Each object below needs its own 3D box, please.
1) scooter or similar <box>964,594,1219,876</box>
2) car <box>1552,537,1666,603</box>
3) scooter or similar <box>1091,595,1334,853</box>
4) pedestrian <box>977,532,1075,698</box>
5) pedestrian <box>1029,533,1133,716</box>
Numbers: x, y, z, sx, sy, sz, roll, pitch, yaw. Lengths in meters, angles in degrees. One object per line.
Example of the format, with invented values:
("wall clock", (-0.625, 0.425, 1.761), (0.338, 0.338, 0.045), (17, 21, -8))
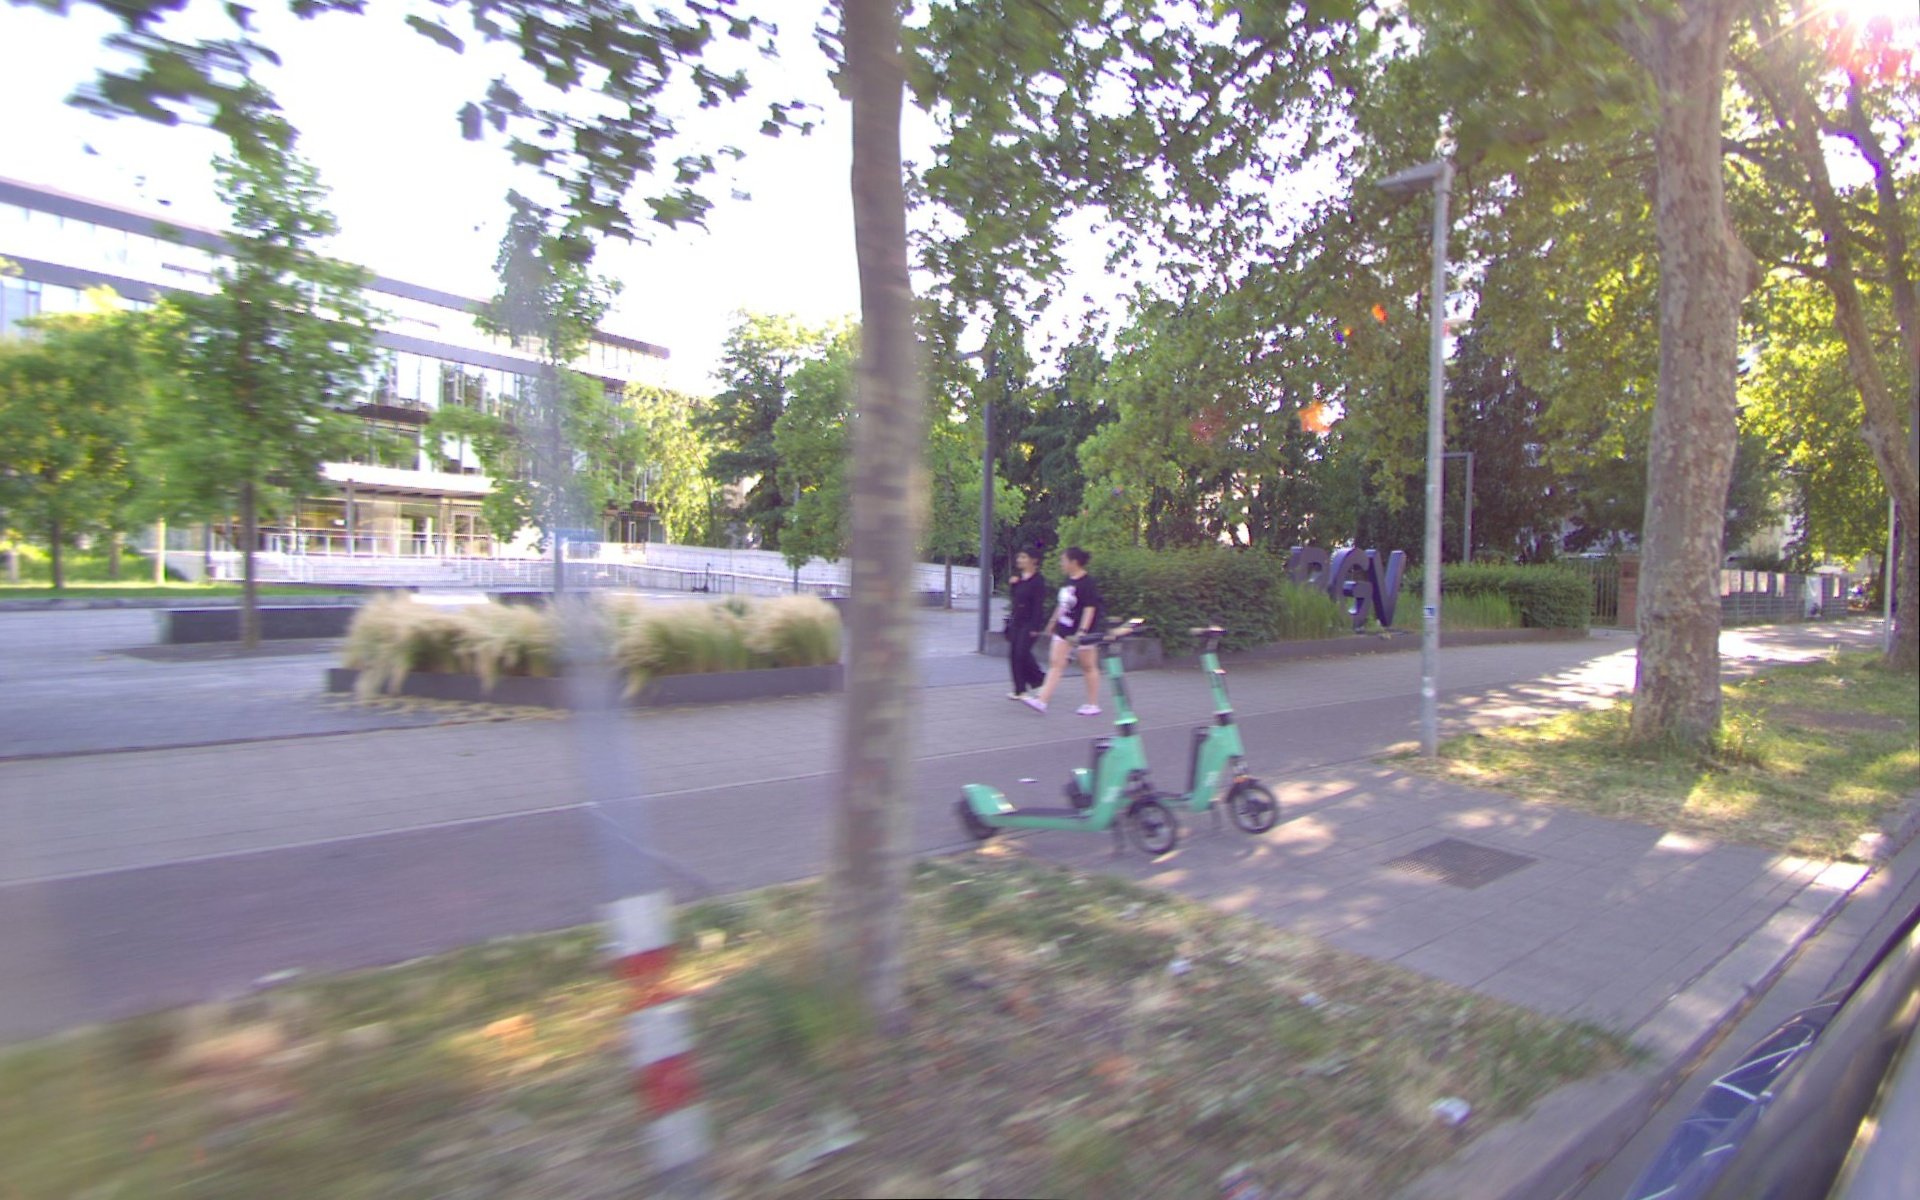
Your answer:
("scooter or similar", (0.675, 0.629, 5.389), (0.826, 1.259, 1.055), (-1, 3, -37))
("car", (26.569, -1.212, 41.344), (6.231, 2.530, 1.998), (-1, 1, -38))
("scooter or similar", (1.435, 0.633, 5.846), (0.826, 1.259, 1.055), (-1, 3, -37))
("pedestrian", (0.693, 0.130, 10.717), (0.769, 1.676, 0.651), (-1, 3, -40))
("pedestrian", (1.162, 0.203, 9.740), (0.727, 1.676, 0.629), (-1, 3, -40))
